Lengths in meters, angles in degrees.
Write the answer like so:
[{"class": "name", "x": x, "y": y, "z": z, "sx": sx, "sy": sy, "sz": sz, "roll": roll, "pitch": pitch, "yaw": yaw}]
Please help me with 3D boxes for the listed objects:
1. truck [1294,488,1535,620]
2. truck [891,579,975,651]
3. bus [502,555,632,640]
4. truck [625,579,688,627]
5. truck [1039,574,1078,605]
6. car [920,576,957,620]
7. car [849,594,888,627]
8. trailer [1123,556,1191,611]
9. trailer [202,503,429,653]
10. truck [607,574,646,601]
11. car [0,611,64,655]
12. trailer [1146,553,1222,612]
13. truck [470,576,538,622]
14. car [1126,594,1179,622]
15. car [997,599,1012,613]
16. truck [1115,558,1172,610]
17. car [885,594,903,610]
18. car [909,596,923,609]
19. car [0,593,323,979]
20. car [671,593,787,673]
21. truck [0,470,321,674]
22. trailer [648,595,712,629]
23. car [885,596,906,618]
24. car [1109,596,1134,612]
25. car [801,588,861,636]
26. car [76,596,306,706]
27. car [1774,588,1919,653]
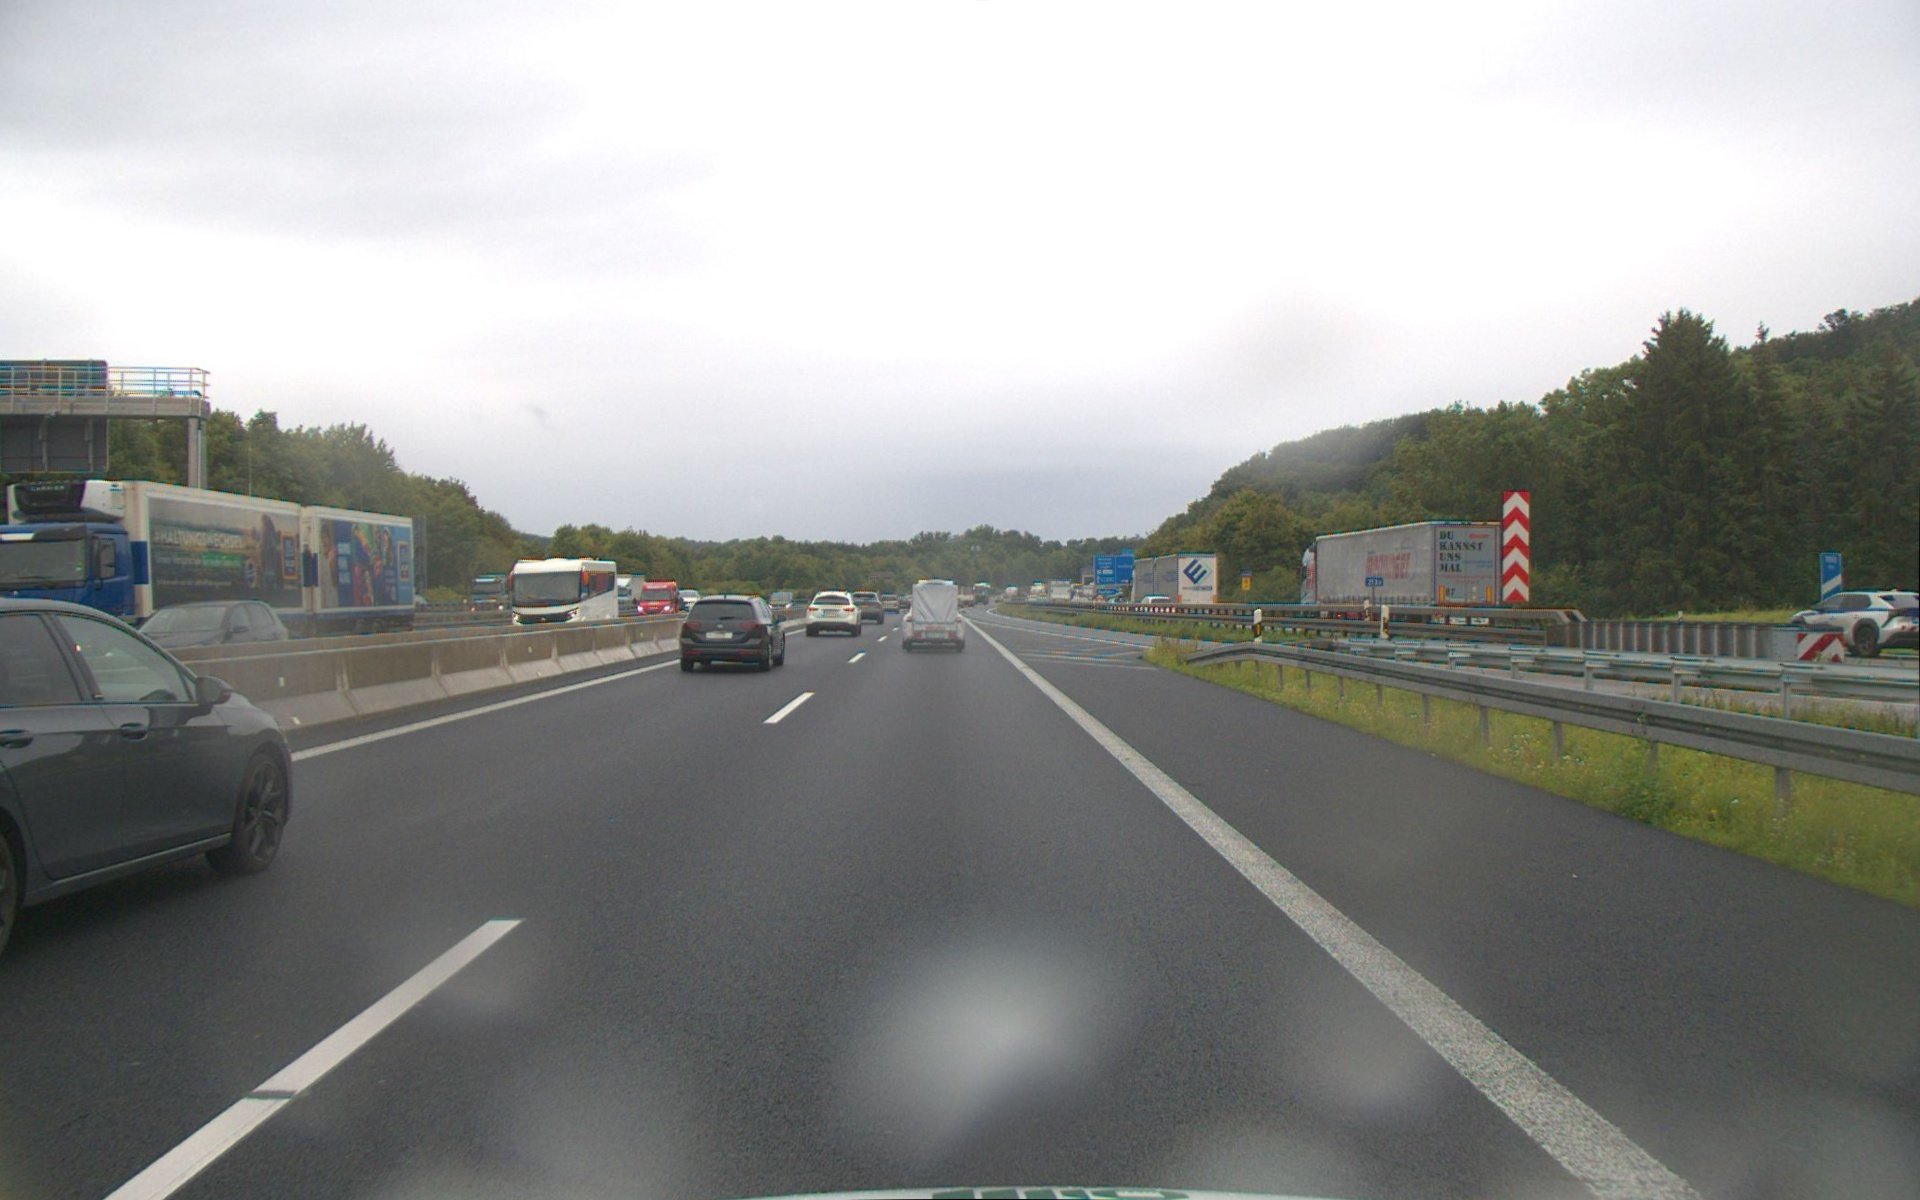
[{"class": "truck", "x": 17.624, "y": -1.587, "z": 66.337, "sx": 3.746, "sy": 4.620, "sz": 16.867, "roll": 0, "pitch": 0, "yaw": -5}, {"class": "truck", "x": -0.745, "y": 0.405, "z": 47.256, "sx": 2.196, "sy": 1.871, "sz": 6.583, "roll": 1, "pitch": 0, "yaw": -1}, {"class": "bus", "x": -13.214, "y": -0.077, "z": 56.360, "sx": 2.489, "sy": 2.632, "sz": 8.270, "roll": 1, "pitch": 0, "yaw": -1}, {"class": "truck", "x": -17.556, "y": 0.166, "z": 96.079, "sx": 2.377, "sy": 2.639, "sz": 7.093, "roll": 0, "pitch": 0, "yaw": 0}, {"class": "truck", "x": 12.192, "y": -1.306, "z": 205.299, "sx": 3.750, "sy": 3.723, "sz": 8.264, "roll": 1, "pitch": 0, "yaw": -4}, {"class": "car", "x": -1.472, "y": -0.141, "z": 109.008, "sx": 2.284, "sy": 2.773, "sz": 6.537, "roll": 0, "pitch": 0, "yaw": -2}, {"class": "car", "x": -4.966, "y": 0.540, "z": 90.717, "sx": 1.935, "sy": 1.733, "sz": 4.801, "roll": 1, "pitch": 0, "yaw": -1}, {"class": "trailer", "x": 13.482, "y": -1.092, "z": 113.921, "sx": 2.881, "sy": 3.588, "sz": 8.410, "roll": 1, "pitch": 0, "yaw": -5}, {"class": "trailer", "x": -16.931, "y": -0.525, "z": 44.157, "sx": 2.883, "sy": 3.577, "sz": 8.050, "roll": 1, "pitch": 0, "yaw": 0}, {"class": "truck", "x": -36.392, "y": -1.324, "z": 180.860, "sx": 2.684, "sy": 2.923, "sz": 8.539, "roll": 0, "pitch": 0, "yaw": -1}, {"class": "car", "x": -32.500, "y": 1.115, "z": 56.415, "sx": 1.761, "sy": 1.400, "sz": 3.999, "roll": 0, "pitch": 0, "yaw": -2}, {"class": "trailer", "x": 14.237, "y": -1.085, "z": 105.635, "sx": 3.018, "sy": 3.588, "sz": 8.075, "roll": 1, "pitch": 0, "yaw": -5}, {"class": "truck", "x": -32.829, "y": -0.060, "z": 119.350, "sx": 2.462, "sy": 3.200, "sz": 8.848, "roll": 0, "pitch": 0, "yaw": 0}, {"class": "car", "x": 11.270, "y": 0.461, "z": 97.194, "sx": 1.955, "sy": 1.645, "sz": 5.071, "roll": 0, "pitch": 0, "yaw": -7}, {"class": "car", "x": 5.283, "y": 0.680, "z": 195.153, "sx": 1.612, "sy": 1.601, "sz": 3.999, "roll": 1, "pitch": 0, "yaw": 0}, {"class": "truck", "x": 13.102, "y": -1.106, "z": 118.544, "sx": 2.880, "sy": 3.588, "sz": 5.921, "roll": 1, "pitch": 0, "yaw": -5}, {"class": "car", "x": -7.206, "y": 0.205, "z": 181.287, "sx": 1.782, "sy": 1.691, "sz": 4.016, "roll": 0, "pitch": 0, "yaw": 0}, {"class": "car", "x": -5.771, "y": 0.333, "z": 217.108, "sx": 1.612, "sy": 1.601, "sz": 3.999, "roll": 1, "pitch": 0, "yaw": 0}, {"class": "car", "x": -4.511, "y": 0.693, "z": 7.199, "sx": 1.793, "sy": 1.450, "sz": 4.367, "roll": 1, "pitch": 0, "yaw": 0}, {"class": "car", "x": -4.575, "y": 0.611, "z": 33.354, "sx": 1.751, "sy": 1.484, "sz": 4.801, "roll": 1, "pitch": 0, "yaw": -1}, {"class": "truck", "x": -16.863, "y": -0.509, "z": 34.728, "sx": 2.751, "sy": 3.586, "sz": 10.640, "roll": 1, "pitch": 0, "yaw": 0}, {"class": "trailer", "x": -17.645, "y": 0.722, "z": 104.794, "sx": 2.485, "sy": 2.049, "sz": 10.243, "roll": 0, "pitch": 0, "yaw": -1}, {"class": "car", "x": -5.731, "y": 0.609, "z": 147.169, "sx": 1.703, "sy": 1.825, "sz": 3.999, "roll": 1, "pitch": 0, "yaw": -1}, {"class": "car", "x": 13.752, "y": 0.380, "z": 140.794, "sx": 1.663, "sy": 1.311, "sz": 3.533, "roll": 1, "pitch": 0, "yaw": -2}, {"class": "car", "x": -4.890, "y": 0.435, "z": 62.169, "sx": 2.009, "sy": 1.700, "sz": 4.534, "roll": 1, "pitch": 0, "yaw": -7}, {"class": "car", "x": -12.666, "y": 0.786, "z": 27.541, "sx": 1.953, "sy": 1.646, "sz": 3.999, "roll": 1, "pitch": 0, "yaw": -1}, {"class": "car", "x": 22.704, "y": 0.482, "z": 41.554, "sx": 1.783, "sy": 1.530, "sz": 5.028, "roll": 0, "pitch": 0, "yaw": -4}]
